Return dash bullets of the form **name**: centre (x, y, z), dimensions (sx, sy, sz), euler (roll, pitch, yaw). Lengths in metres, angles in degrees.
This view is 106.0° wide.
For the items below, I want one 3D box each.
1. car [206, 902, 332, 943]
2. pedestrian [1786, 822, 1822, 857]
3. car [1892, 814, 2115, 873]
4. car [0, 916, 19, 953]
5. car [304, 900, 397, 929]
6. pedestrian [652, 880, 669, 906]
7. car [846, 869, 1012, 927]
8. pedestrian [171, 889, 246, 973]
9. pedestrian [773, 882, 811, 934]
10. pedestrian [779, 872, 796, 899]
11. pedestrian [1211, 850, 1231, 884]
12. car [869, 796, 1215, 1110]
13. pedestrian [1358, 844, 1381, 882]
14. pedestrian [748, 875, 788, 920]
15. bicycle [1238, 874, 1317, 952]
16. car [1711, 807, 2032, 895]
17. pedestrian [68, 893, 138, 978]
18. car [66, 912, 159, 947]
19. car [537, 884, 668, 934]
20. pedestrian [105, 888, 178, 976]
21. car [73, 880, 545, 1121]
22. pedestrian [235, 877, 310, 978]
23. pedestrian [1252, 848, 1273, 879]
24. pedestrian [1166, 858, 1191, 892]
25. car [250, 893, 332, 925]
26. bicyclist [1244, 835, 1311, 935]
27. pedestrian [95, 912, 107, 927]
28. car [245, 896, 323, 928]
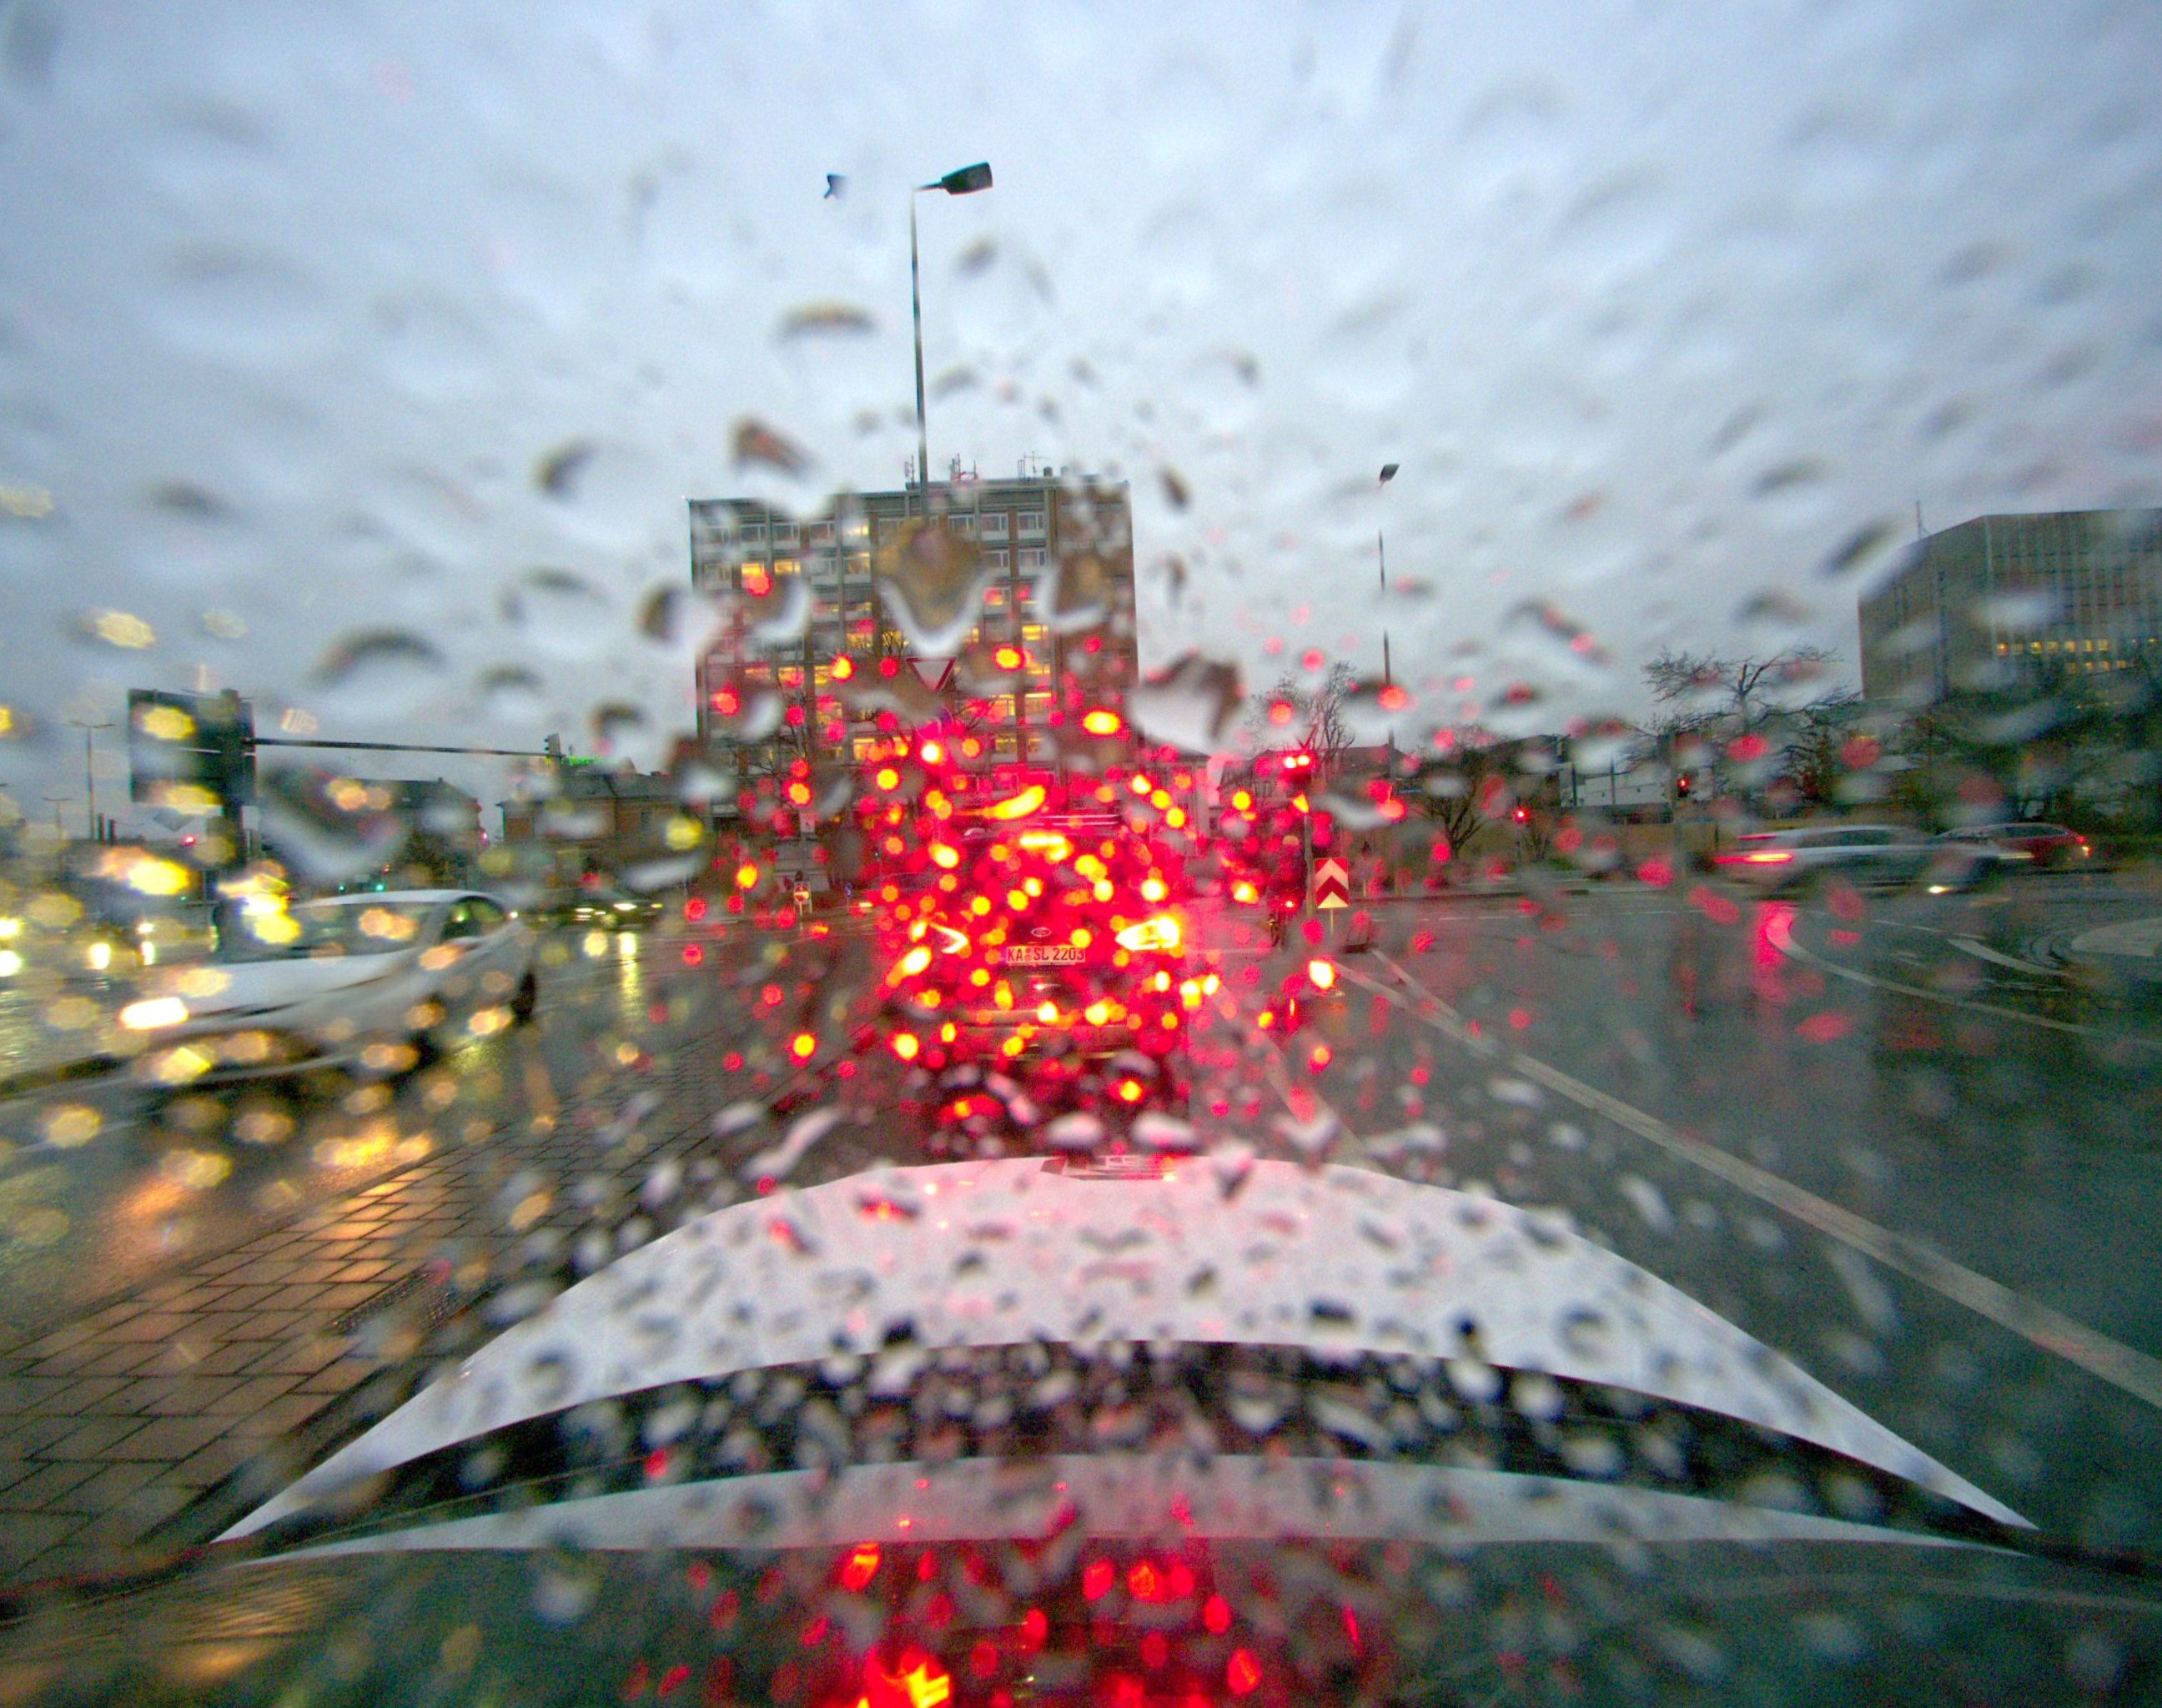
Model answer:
- **car**: centre (-34.231, 2.893, 34.352), dimensions (4.618, 1.477, 1.820), euler (-3, -1, 18)
- **pedestrian**: centre (34.939, -0.708, 39.364), dimensions (0.958, 1.603, 0.795), euler (-3, 0, 3)
- **car**: centre (27.984, -0.291, 24.844), dimensions (4.390, 1.477, 1.814), euler (-3, -1, 6)
- **car**: centre (-49.075, 3.641, 35.869), dimensions (3.952, 1.577, 1.785), euler (-3, 0, 22)
- **car**: centre (-43.823, 3.617, 48.922), dimensions (1.582, 1.482, 3.840), euler (-1, -1, 31)
- **pedestrian**: centre (-28.677, 2.675, 55.527), dimensions (0.634, 1.688, 0.640), euler (-3, 0, 18)
- **car**: centre (-4.613, 1.328, 24.831), dimensions (4.545, 1.477, 1.818), euler (-3, -1, 14)
- **pedestrian**: centre (-19.378, 1.701, 18.100), dimensions (0.653, 1.755, 0.856), euler (-3, 0, 18)
- **pedestrian**: centre (-11.667, 2.161, 32.894), dimensions (0.920, 1.978, 0.964), euler (-3, 0, 14)
- **pedestrian**: centre (-18.623, 2.002, 51.630), dimensions (0.753, 1.628, 0.560), euler (-3, 0, 16)
- **pedestrian**: centre (7.651, 0.686, 44.509), dimensions (0.990, 1.799, 0.922), euler (-3, 0, 11)
- **car**: centre (-0.166, 0.586, 6.690), dimensions (1.986, 1.789, 4.001), euler (0, -1, 2)
- **pedestrian**: centre (16.675, 0.527, 47.151), dimensions (0.881, 2.113, 0.895), euler (-3, 0, -2)
- **pedestrian**: centre (-13.818, 1.920, 36.027), dimensions (0.992, 1.842, 1.145), euler (-3, 2, 22)
- **bicycle**: centre (2.976, 0.863, 12.528), dimensions (0.780, 1.075, 1.958), euler (0, -1, 2)
- **car**: centre (16.884, -0.039, 17.678), dimensions (4.654, 1.552, 1.944), euler (-3, -1, 10)
- **pedestrian**: centre (-21.457, 1.775, 17.883), dimensions (0.741, 1.770, 0.546), euler (-3, 0, -12)
- **car**: centre (-47.378, 3.695, 39.822), dimensions (4.613, 1.477, 1.822), euler (-3, -1, 26)
- **car**: centre (-16.508, 1.892, 28.106), dimensions (3.920, 1.477, 1.821), euler (-3, -1, 22)
- **pedestrian**: centre (-20.772, 1.702, 18.020), dimensions (0.733, 1.838, 0.674), euler (-3, 0, -11)
- **car**: centre (-6.488, 1.055, 7.468), dimensions (1.746, 1.448, 3.687), euler (-5, -1, -20)
- **pedestrian**: centre (-17.315, 1.548, 17.473), dimensions (0.996, 2.021, 0.792), euler (-3, 0, -39)
- **pedestrian**: centre (9.530, 0.480, 42.769), dimensions (0.920, 1.533, 1.045), euler (-3, 0, 6)
- **pedestrian**: centre (5.210, 1.099, 43.305), dimensions (1.127, 1.720, 0.984), euler (-3, 0, 12)
- **car**: centre (-51.161, 3.526, 52.776), dimensions (1.649, 1.826, 3.609), euler (-1, -1, 39)
- **bicyclist**: centre (2.985, 0.454, 12.471), dimensions (0.780, 1.453, 1.134), euler (0, -1, 2)
- **pedestrian**: centre (-143.298, 9.595, 119.074), dimensions (0.908, 2.013, 0.986), euler (-3, 0, 42)
- **car**: centre (-44.060, 3.154, 45.009), dimensions (3.950, 1.568, 1.837), euler (-1, -1, 26)
